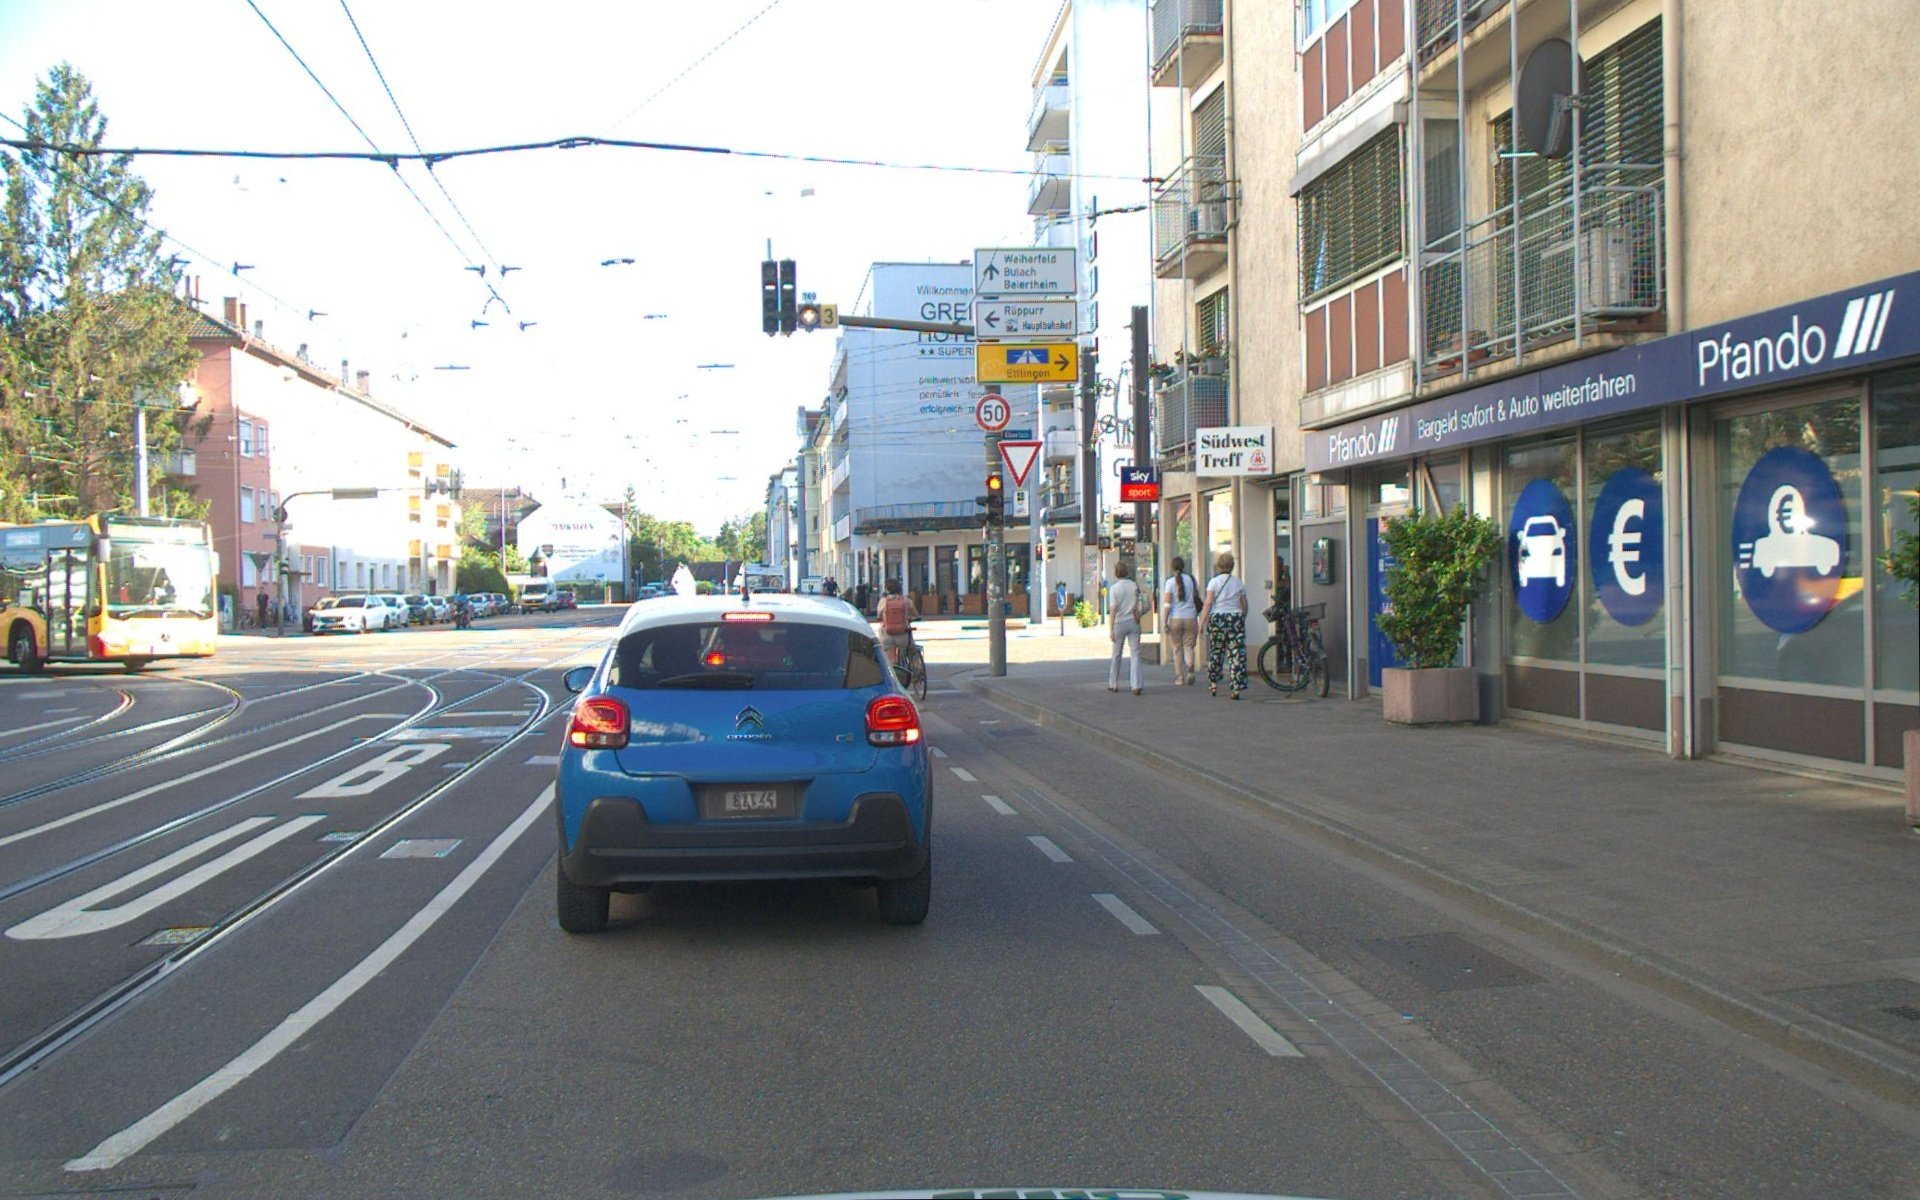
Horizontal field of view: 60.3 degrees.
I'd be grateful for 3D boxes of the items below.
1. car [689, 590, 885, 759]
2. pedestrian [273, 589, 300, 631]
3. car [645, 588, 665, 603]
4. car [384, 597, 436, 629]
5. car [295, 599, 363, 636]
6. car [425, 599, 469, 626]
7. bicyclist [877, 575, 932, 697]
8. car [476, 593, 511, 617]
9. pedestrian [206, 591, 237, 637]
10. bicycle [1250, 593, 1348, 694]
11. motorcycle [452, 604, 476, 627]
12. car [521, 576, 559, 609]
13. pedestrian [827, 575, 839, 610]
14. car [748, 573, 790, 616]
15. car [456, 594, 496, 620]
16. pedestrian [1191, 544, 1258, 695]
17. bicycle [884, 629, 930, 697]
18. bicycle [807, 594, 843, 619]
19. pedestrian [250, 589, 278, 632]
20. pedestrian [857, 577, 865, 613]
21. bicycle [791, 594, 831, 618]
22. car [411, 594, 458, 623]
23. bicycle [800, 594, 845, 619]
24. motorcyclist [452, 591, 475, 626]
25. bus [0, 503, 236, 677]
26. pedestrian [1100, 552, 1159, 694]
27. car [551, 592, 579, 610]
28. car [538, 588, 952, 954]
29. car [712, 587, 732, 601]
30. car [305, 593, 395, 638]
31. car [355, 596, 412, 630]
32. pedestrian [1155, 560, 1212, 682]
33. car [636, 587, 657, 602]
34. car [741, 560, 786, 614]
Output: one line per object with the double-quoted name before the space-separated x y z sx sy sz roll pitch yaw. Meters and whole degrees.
"car" -1.686 0.648 16.692 1.704 1.445 3.996 -1 1 -5
"pedestrian" -27.795 0.416 68.262 0.827 1.720 0.737 -1 0 -2
"car" -34.615 -0.518 187.679 1.983 1.552 3.993 -2 1 -8
"car" -28.864 0.667 86.895 1.875 1.523 3.992 -1 1 -8
"car" -26.626 0.718 69.902 1.876 1.458 3.991 -1 1 -10
"car" -30.535 0.727 98.499 1.875 1.523 3.992 -1 1 -8
"bicyclist" -0.785 0.493 23.333 0.712 1.674 0.789 -1 0 -5
"car" -32.931 0.359 116.844 1.835 1.601 3.993 -1 1 -8
"pedestrian" -28.153 0.531 63.089 0.827 1.720 0.737 -1 0 -2
"bicycle" 3.902 0.480 19.159 0.520 1.091 1.808 -1 1 -8
"motorcycle" -20.624 0.633 68.835 0.603 0.879 1.669 -1 1 -4
"car" -30.513 -0.568 120.209 2.166 2.290 4.668 -1 1 -8
"pedestrian" -5.776 -0.330 75.170 0.482 1.583 0.383 -1 0 -8
"car" -8.111 -0.223 70.093 1.700 1.780 3.208 0 0 -8
"car" -31.261 0.439 106.863 1.875 1.523 3.992 -1 1 -8
"pedestrian" 3.073 0.218 19.232 0.531 1.701 0.649 -3 1 -6
"bicycle" -0.773 0.880 23.763 0.489 0.879 1.746 -1 1 -7
"bicycle" -5.612 0.269 68.758 1.474 0.973 0.701 -1 1 -3
"pedestrian" -28.646 0.421 68.084 0.827 1.720 0.737 -1 0 -2
"pedestrian" -4.365 -0.205 73.020 0.279 1.583 0.304 -1 0 -13
"bicycle" -6.400 0.266 71.118 1.686 0.973 0.701 -1 1 -3
"car" -29.528 0.473 92.994 1.875 1.523 3.992 -1 1 -8
"bicycle" -5.783 0.264 69.806 1.836 0.973 0.701 -1 1 -3
"motorcyclist" -20.608 0.341 68.680 0.705 1.402 0.911 -1 1 -4
"bus" -19.437 -0.149 34.406 9.975 3.213 2.725 -1 1 31
"pedestrian" 2.102 0.268 20.552 0.531 1.701 0.623 -3 2 -6
"car" -34.656 0.091 145.289 1.983 1.552 3.993 -1 1 -8
"car" -1.229 0.680 8.855 1.712 1.488 3.990 0 0 -10
"car" -23.200 -0.569 161.060 1.724 1.281 3.822 -1 1 -11
"car" -23.382 0.558 63.525 1.812 1.601 4.401 -1 1 0
"car" -27.905 0.628 80.174 1.875 1.523 3.992 -1 1 -8
"pedestrian" 2.907 0.261 21.554 0.531 1.533 0.610 -3 2 -6
"car" -32.275 -0.575 170.267 1.983 1.552 3.993 -1 1 -8
"car" -8.914 -0.590 74.954 1.956 2.366 3.993 0 0 -8
